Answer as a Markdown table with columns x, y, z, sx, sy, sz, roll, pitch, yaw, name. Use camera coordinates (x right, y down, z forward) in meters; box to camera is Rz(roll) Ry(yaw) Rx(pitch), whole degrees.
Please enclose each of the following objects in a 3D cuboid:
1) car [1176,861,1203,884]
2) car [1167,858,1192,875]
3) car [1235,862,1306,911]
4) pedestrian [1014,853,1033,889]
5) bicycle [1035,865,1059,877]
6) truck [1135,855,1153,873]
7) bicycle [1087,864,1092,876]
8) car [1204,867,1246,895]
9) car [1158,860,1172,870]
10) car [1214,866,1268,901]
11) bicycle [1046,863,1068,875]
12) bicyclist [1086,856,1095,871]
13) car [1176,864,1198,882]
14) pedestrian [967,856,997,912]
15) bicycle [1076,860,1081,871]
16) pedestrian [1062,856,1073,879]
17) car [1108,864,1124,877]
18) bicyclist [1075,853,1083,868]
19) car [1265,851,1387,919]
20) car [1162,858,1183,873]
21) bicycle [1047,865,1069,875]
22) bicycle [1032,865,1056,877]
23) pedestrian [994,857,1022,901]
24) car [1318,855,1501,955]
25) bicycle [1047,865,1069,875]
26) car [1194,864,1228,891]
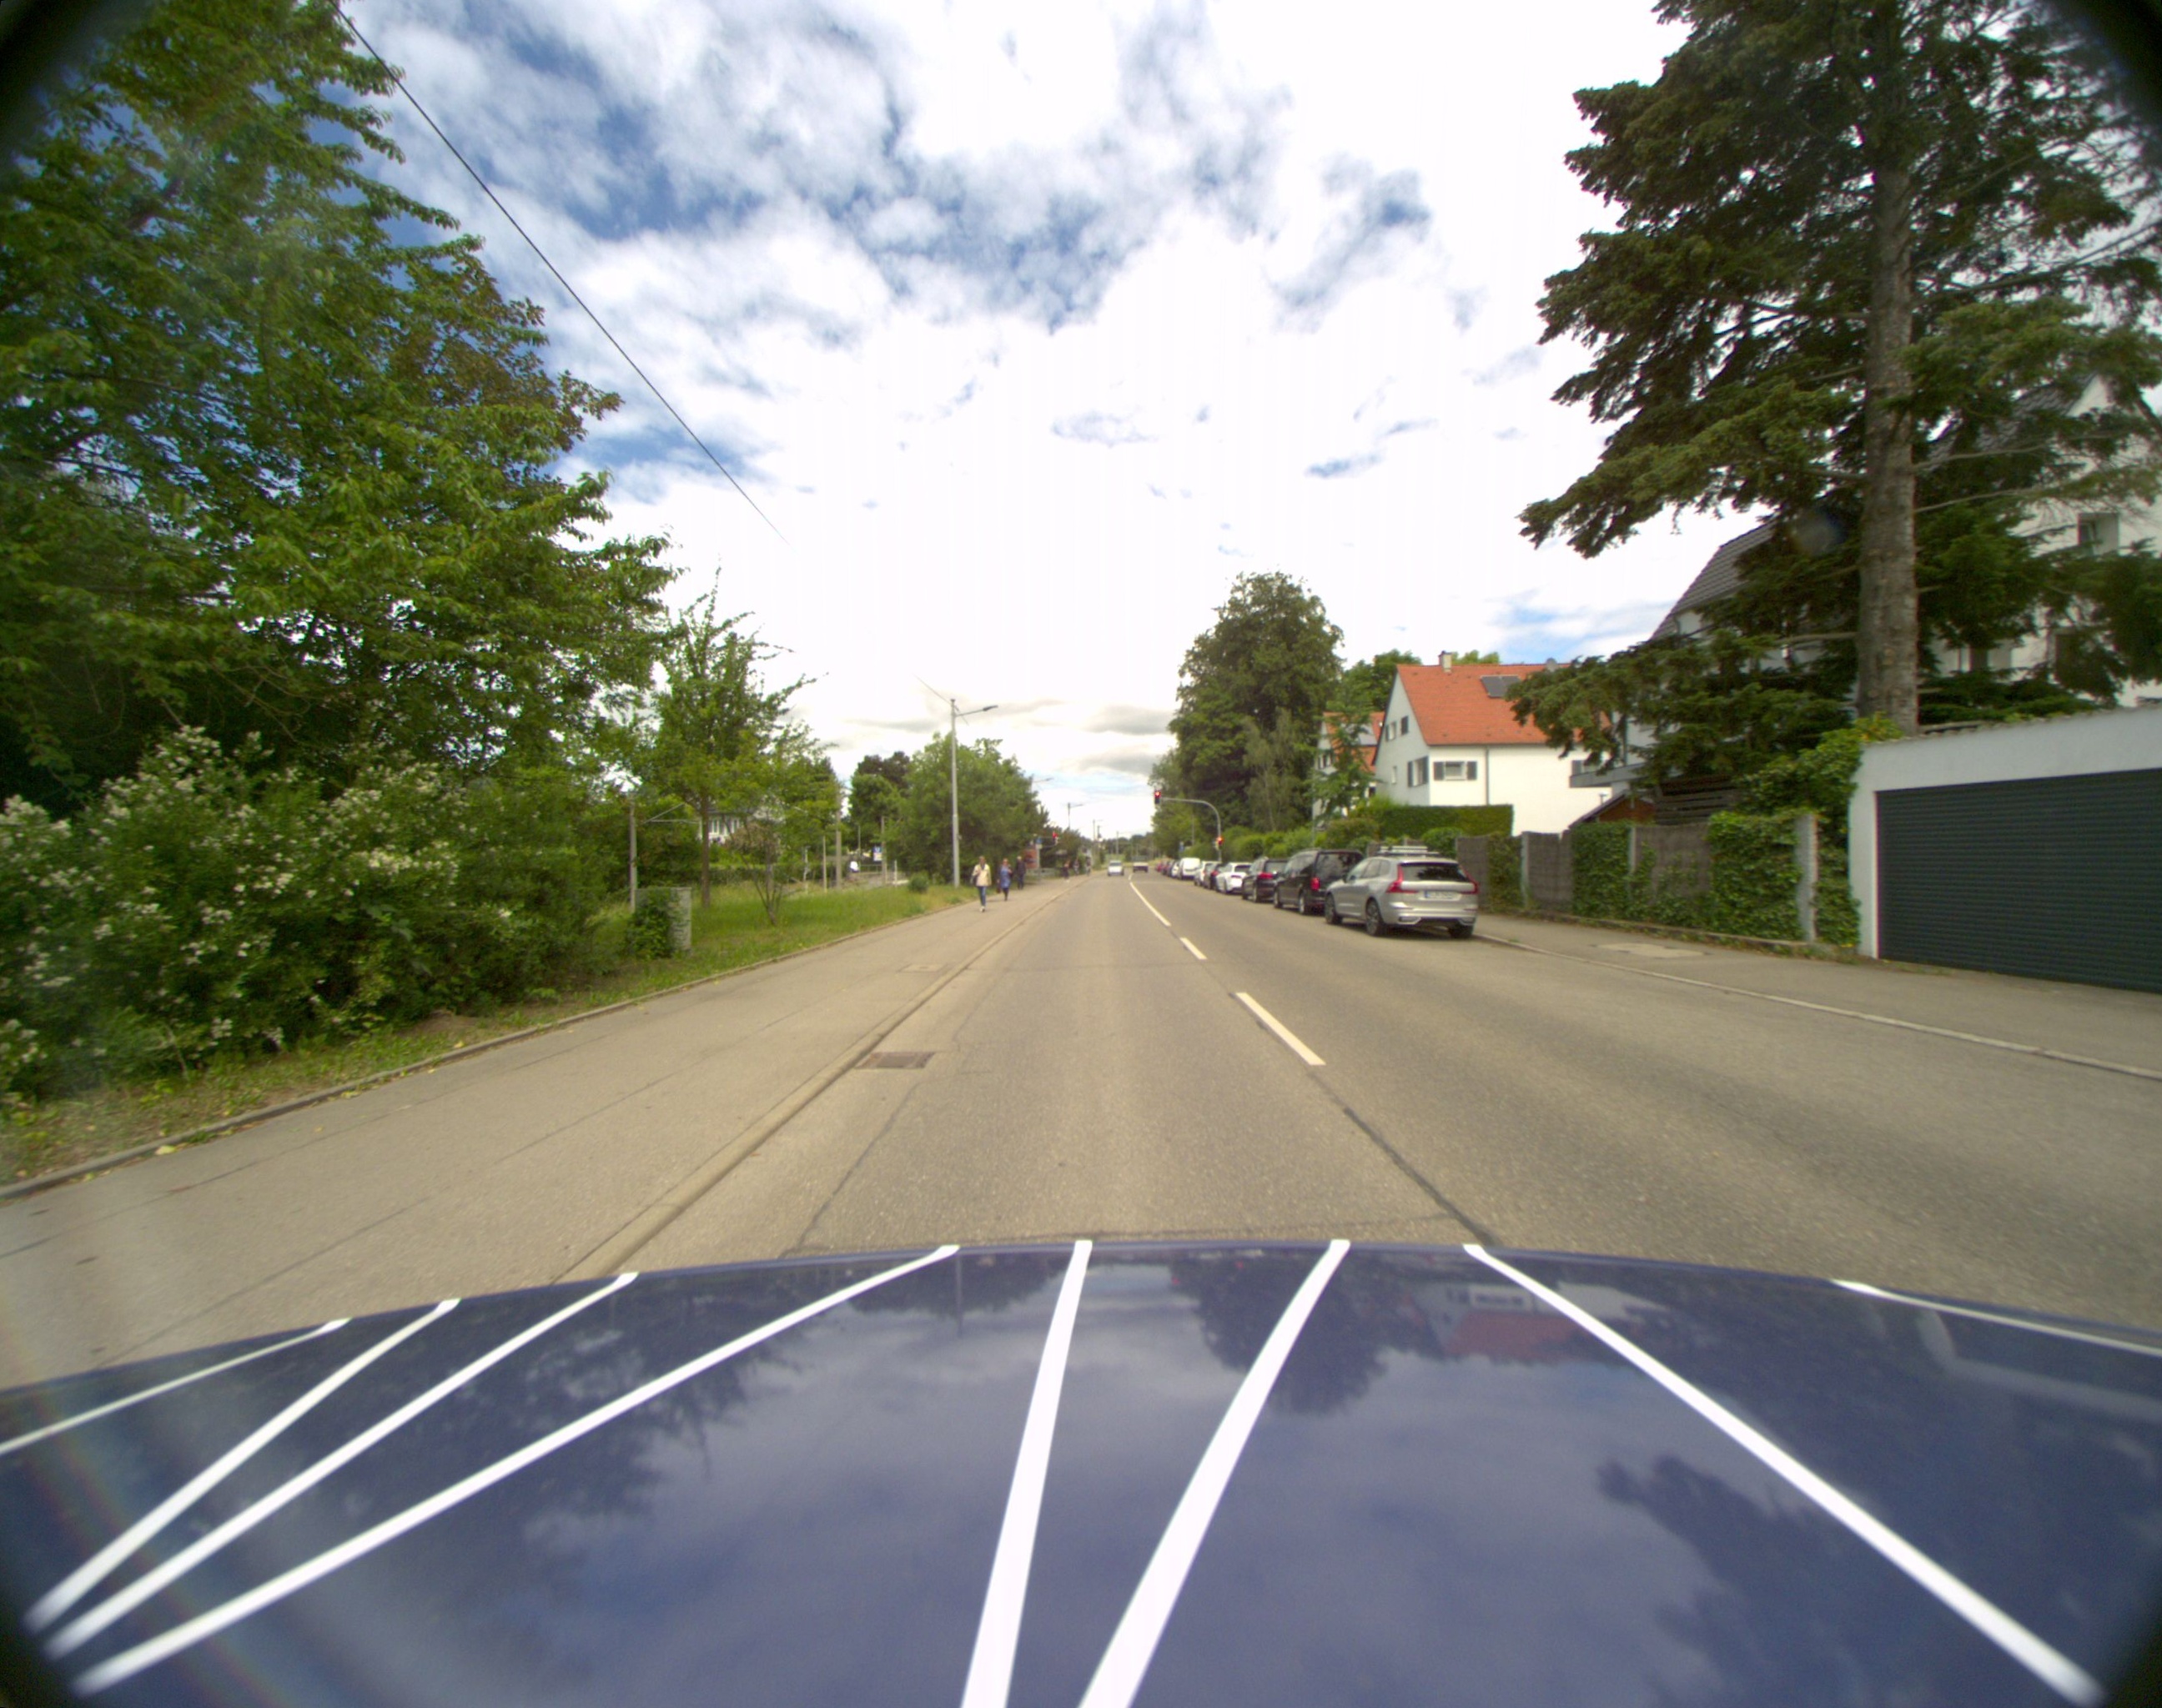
| x | y | z | sx | sy | sz | roll | pitch | yaw | name |
| --- | --- | --- | --- | --- | --- | --- | --- | --- | --- |
| 8.774 | 1.446 | 61.663 | 1.680 | 1.748 | 4.609 | 1 | 0 | 2 | car |
| 9.366 | 1.181 | 72.653 | 1.901 | 1.584 | 4.644 | -1 | 0 | 2 | car |
| 7.067 | 1.161 | 28.708 | 1.630 | 1.668 | 4.584 | 1 | 0 | 2 | car |
| -3.102 | 0.908 | 41.001 | 0.746 | 1.871 | 0.802 | -2 | 0 | 9 | pedestrian |
| -3.159 | 1.579 | 70.461 | 2.093 | 1.041 | 0.559 | -3 | 0 | 6 | bicycle |
| 8.643 | 1.318 | 104.790 | 2.194 | 2.357 | 6.907 | 1 | 0 | 4 | truck |
| 0.933 | 1.686 | 80.522 | 0.451 | 1.278 | 2.207 | -2 | 0 | -1 | bicycle |
| 7.684 | 1.409 | 40.909 | 1.746 | 1.402 | 4.325 | 1 | 0 | 4 | car |
| 12.136 | 1.512 | 110.091 | 1.971 | 1.394 | 4.067 | -1 | 0 | 5 | car |
| 7.366 | 1.330 | 35.423 | 1.809 | 1.450 | 5.070 | 1 | 0 | 4 | car |
| -2.401 | 1.547 | 76.505 | 2.093 | 1.144 | 0.530 | -2 | 0 | 1 | bicycle |
| 1.012 | 1.031 | 80.548 | 0.826 | 1.529 | 0.862 | -2 | 0 | 1 | bicyclist |
| 9.296 | 1.629 | 66.858 | 1.708 | 1.444 | 4.360 | 2 | 0 | 7 | car |
| -3.015 | 0.915 | 23.159 | 0.687 | 1.649 | 0.690 | -2 | 0 | 7 | pedestrian |
| -0.239 | 1.211 | 79.544 | 0.451 | 1.142 | 2.208 | -1 | 0 | 3 | bicycle |
| -1.018 | 1.014 | 56.183 | 0.649 | 1.654 | 0.708 | -2 | 0 | 8 | pedestrian |
| 3.789 | 1.753 | 82.263 | 1.665 | 1.394 | 3.901 | -1 | 0 | 3 | car |
| -0.188 | 0.691 | 79.523 | 0.826 | 1.529 | 0.862 | -1 | 0 | 2 | bicyclist |
| 7.092 | 0.824 | 22.612 | 2.072 | 1.744 | 4.884 | -2 | 0 | 1 | car |
| 10.007 | 1.248 | 83.248 | 1.794 | 1.601 | 4.417 | -1 | 0 | 1 | car |
| -2.298 | 1.641 | 77.026 | 2.206 | 0.932 | 0.451 | -2 | 0 | 0 | bicycle |
| -3.375 | 1.510 | 69.065 | 2.092 | 1.074 | 0.547 | 0 | 1 | 6 | bicycle |
| -2.830 | 0.967 | 29.468 | 0.841 | 1.649 | 0.766 | -2 | 0 | 7 | pedestrian |
| 6.783 | 0.959 | 16.358 | 1.989 | 1.808 | 4.708 | -1 | 0 | 2 | car |
| -2.330 | 1.639 | 77.497 | 2.206 | 1.041 | 0.451 | -1 | 0 | 1 | bicycle |
| 7.911 | 1.390 | 46.444 | 1.706 | 1.534 | 3.744 | 1 | 0 | 4 | car |
